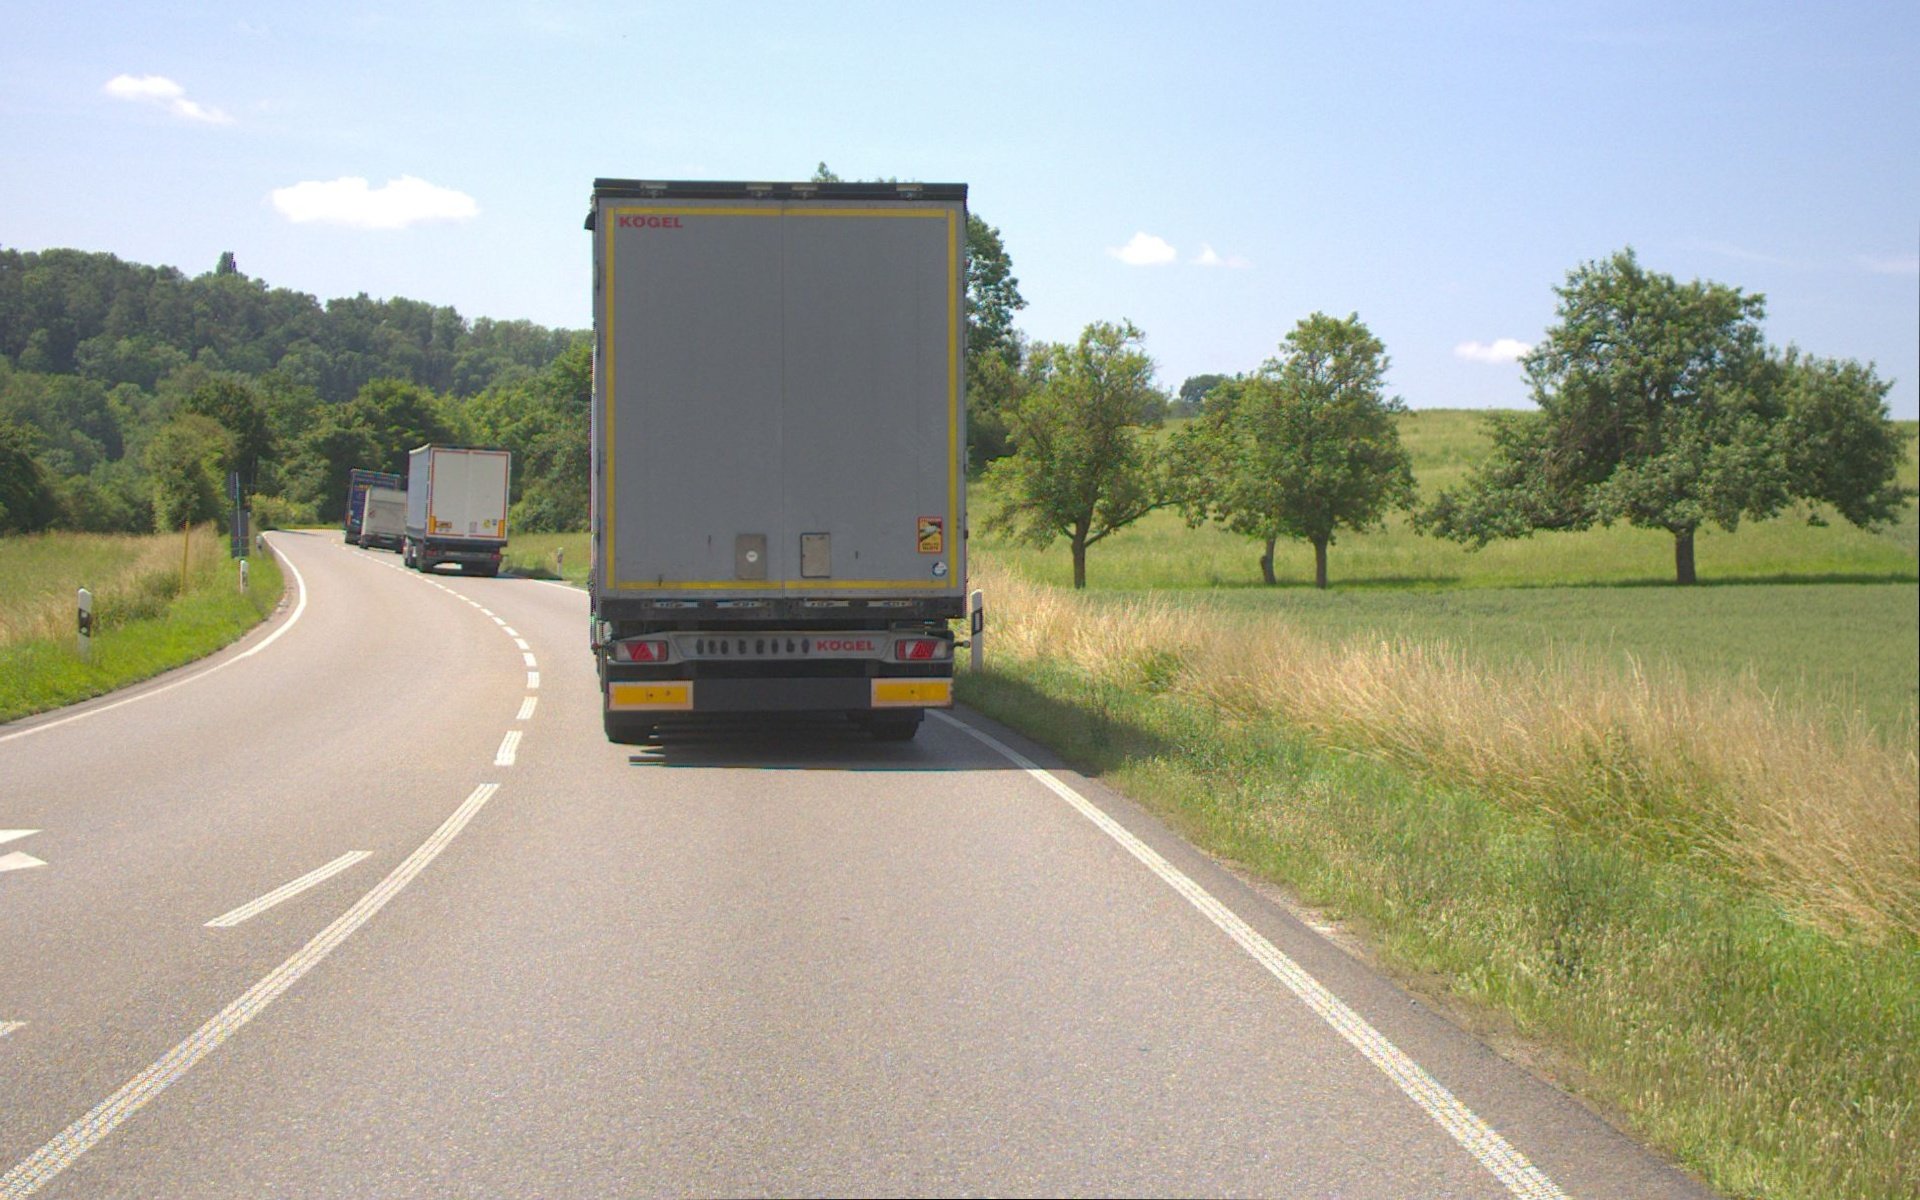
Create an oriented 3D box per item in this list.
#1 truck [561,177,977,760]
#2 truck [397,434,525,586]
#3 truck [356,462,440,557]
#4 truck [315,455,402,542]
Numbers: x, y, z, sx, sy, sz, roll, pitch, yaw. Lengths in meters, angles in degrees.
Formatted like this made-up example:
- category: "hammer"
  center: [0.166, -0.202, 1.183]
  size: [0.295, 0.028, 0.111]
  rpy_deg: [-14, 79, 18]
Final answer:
- category: "truck"
  center: [-1.749, -0.993, 28.101]
  size: [2.807, 3.932, 9.593]
  rpy_deg: [0, 1, -6]
- category: "truck"
  center: [-16.681, -2.947, 113.994]
  size: [2.960, 4.568, 16.321]
  rpy_deg: [2, 1, -12]
- category: "truck"
  center: [-28.192, -4.443, 172.001]
  size: [3.636, 4.115, 13.100]
  rpy_deg: [3, -1, -11]
- category: "truck"
  center: [-33.364, -5.540, 190.277]
  size: [3.528, 4.226, 13.409]
  rpy_deg: [3, -1, -14]
